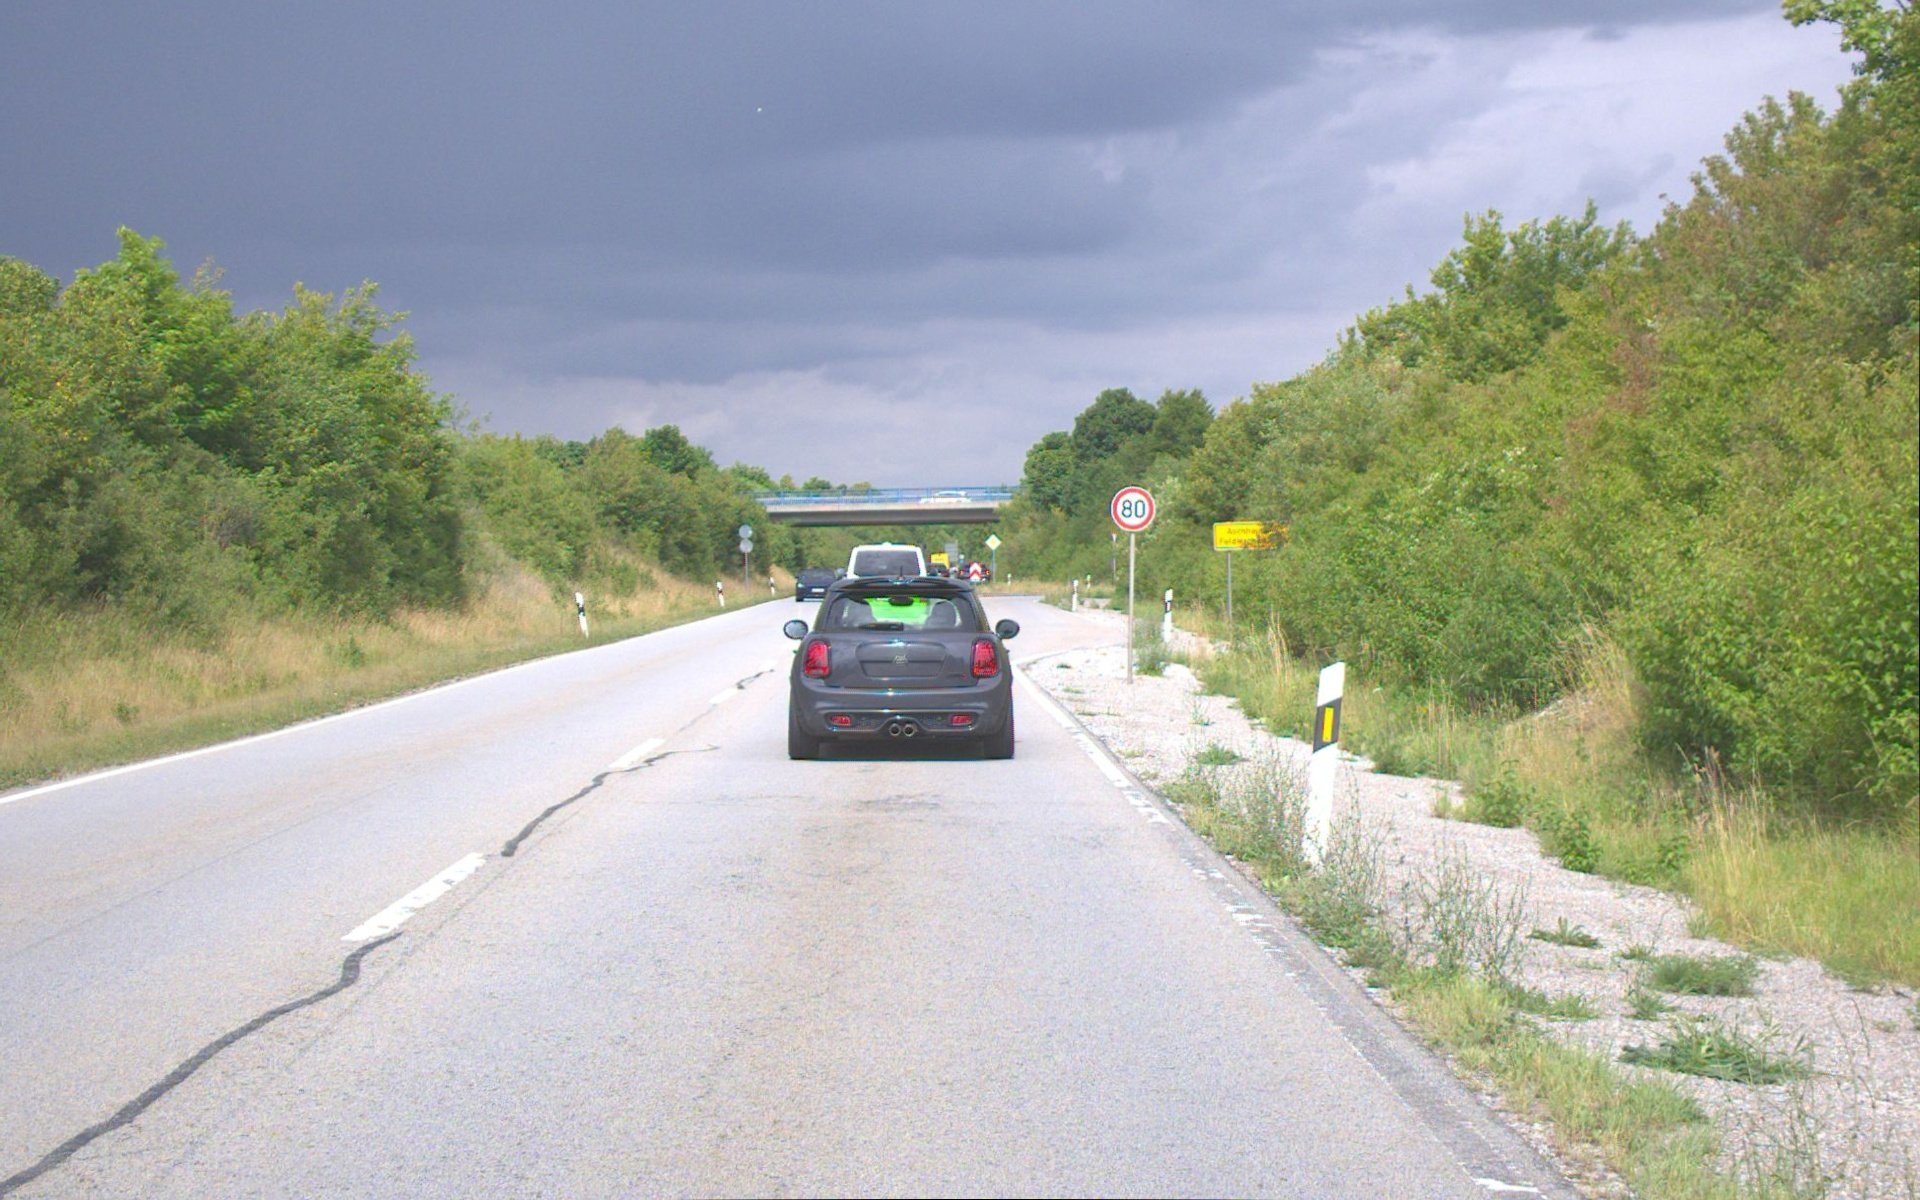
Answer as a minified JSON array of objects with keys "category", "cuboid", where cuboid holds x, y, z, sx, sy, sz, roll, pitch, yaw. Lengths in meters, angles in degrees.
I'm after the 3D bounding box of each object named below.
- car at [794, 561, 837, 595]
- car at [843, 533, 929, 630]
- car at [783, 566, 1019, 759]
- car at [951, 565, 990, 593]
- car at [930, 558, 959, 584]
[{"category":"car","cuboid":[-5.978,-0.917,142.360,1.701,1.326,4.000,-1,1,-1]},{"category":"car","cuboid":[-1.609,-0.419,75.513,1.819,2.047,4.000,1,1,-1]},{"category":"car","cuboid":[-0.474,0.449,27.766,1.756,1.422,4.000,1,1,-1]},{"category":"car","cuboid":[0.582,-1.205,194.249,1.993,1.547,4.000,1,1,-3]},{"category":"car","cuboid":[-1.023,-1.958,228.126,1.780,1.700,4.000,0,1,-3]}]
